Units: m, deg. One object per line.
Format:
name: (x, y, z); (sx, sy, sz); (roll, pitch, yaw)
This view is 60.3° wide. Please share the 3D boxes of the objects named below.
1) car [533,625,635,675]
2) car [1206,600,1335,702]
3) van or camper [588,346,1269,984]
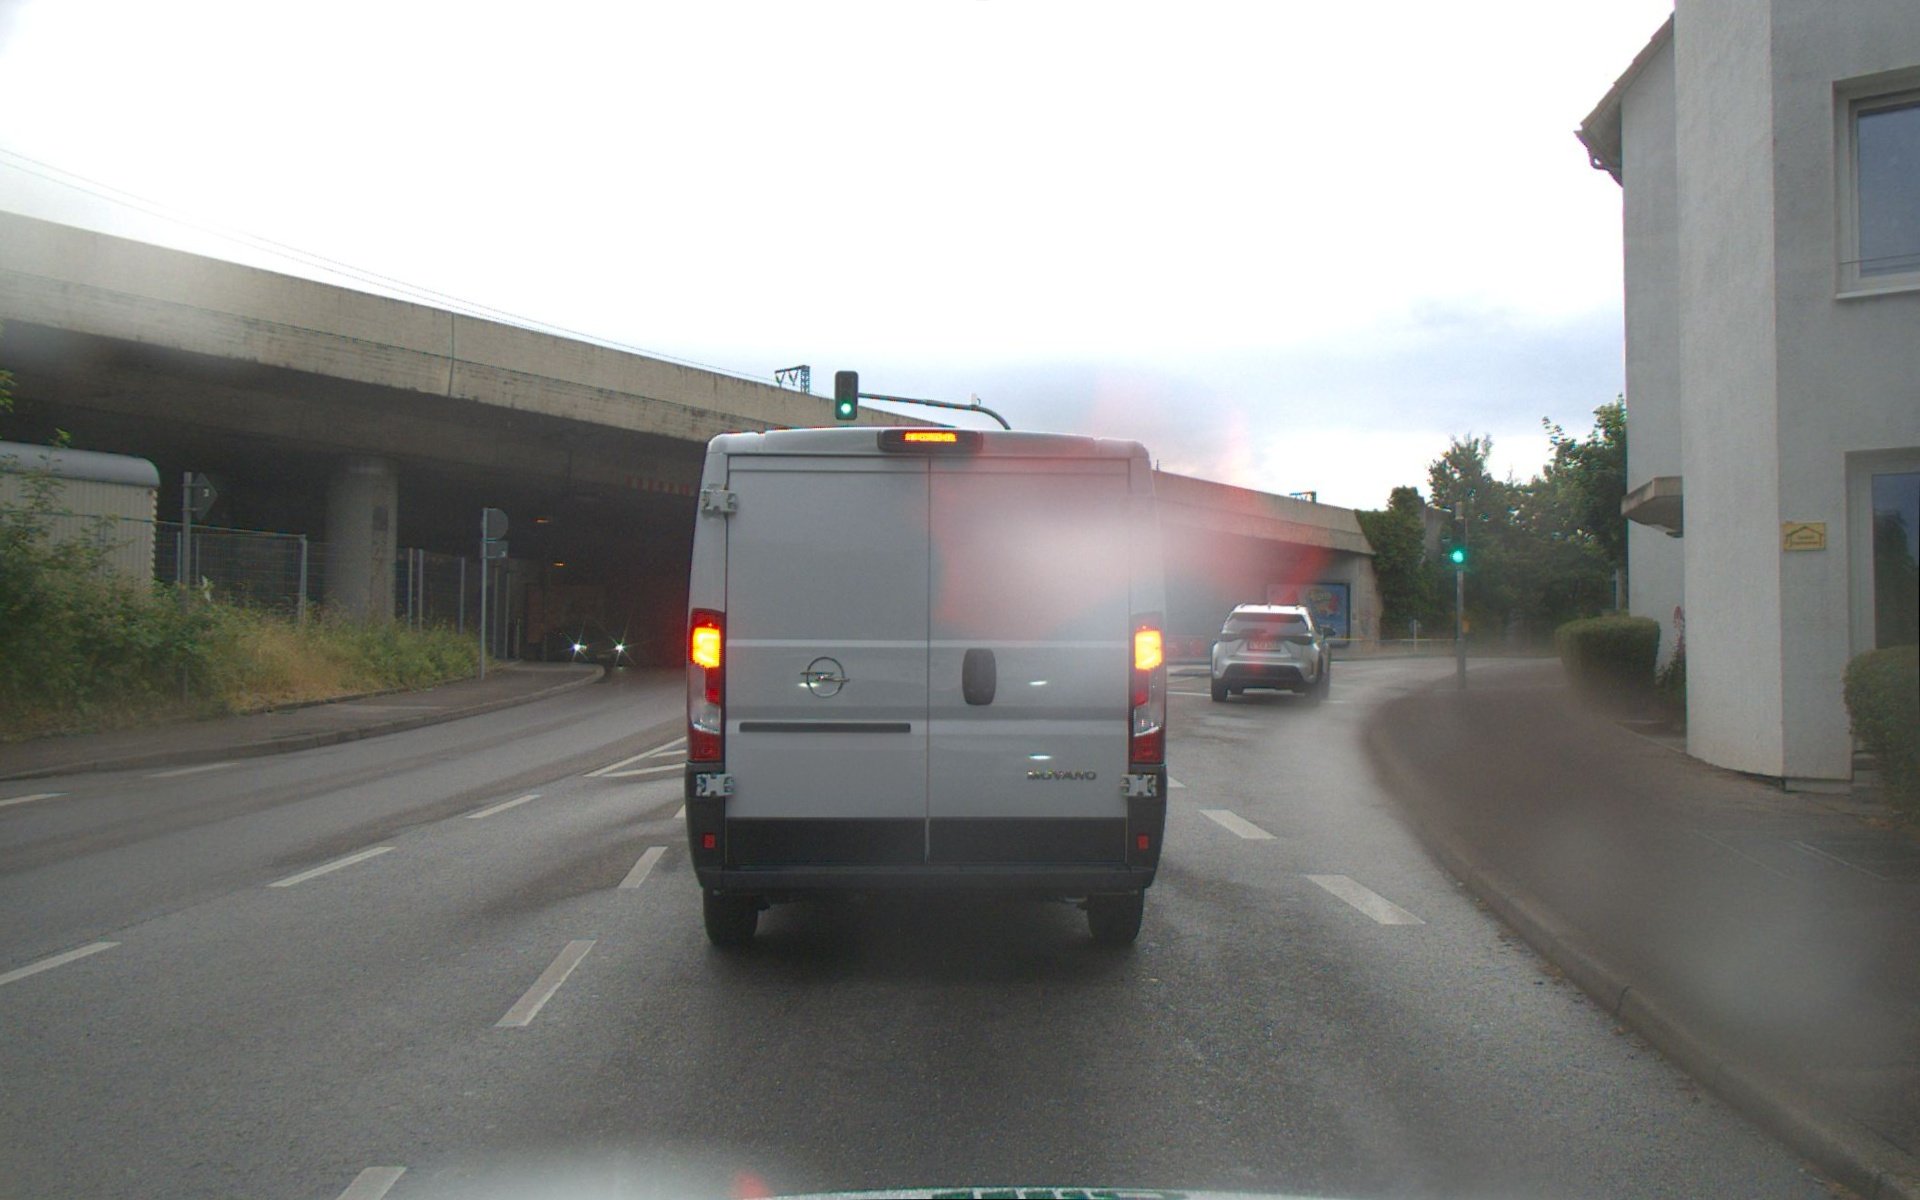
car: (-12.715, 1.661, 55.794); (1.975, 1.557, 4.449); (1, 0, -33)
car: (5.245, 0.804, 27.560); (1.835, 1.557, 4.003); (0, -1, 15)
van or camper: (-0.223, 0.277, 8.907); (2.644, 2.459, 4.900); (0, -1, -3)
